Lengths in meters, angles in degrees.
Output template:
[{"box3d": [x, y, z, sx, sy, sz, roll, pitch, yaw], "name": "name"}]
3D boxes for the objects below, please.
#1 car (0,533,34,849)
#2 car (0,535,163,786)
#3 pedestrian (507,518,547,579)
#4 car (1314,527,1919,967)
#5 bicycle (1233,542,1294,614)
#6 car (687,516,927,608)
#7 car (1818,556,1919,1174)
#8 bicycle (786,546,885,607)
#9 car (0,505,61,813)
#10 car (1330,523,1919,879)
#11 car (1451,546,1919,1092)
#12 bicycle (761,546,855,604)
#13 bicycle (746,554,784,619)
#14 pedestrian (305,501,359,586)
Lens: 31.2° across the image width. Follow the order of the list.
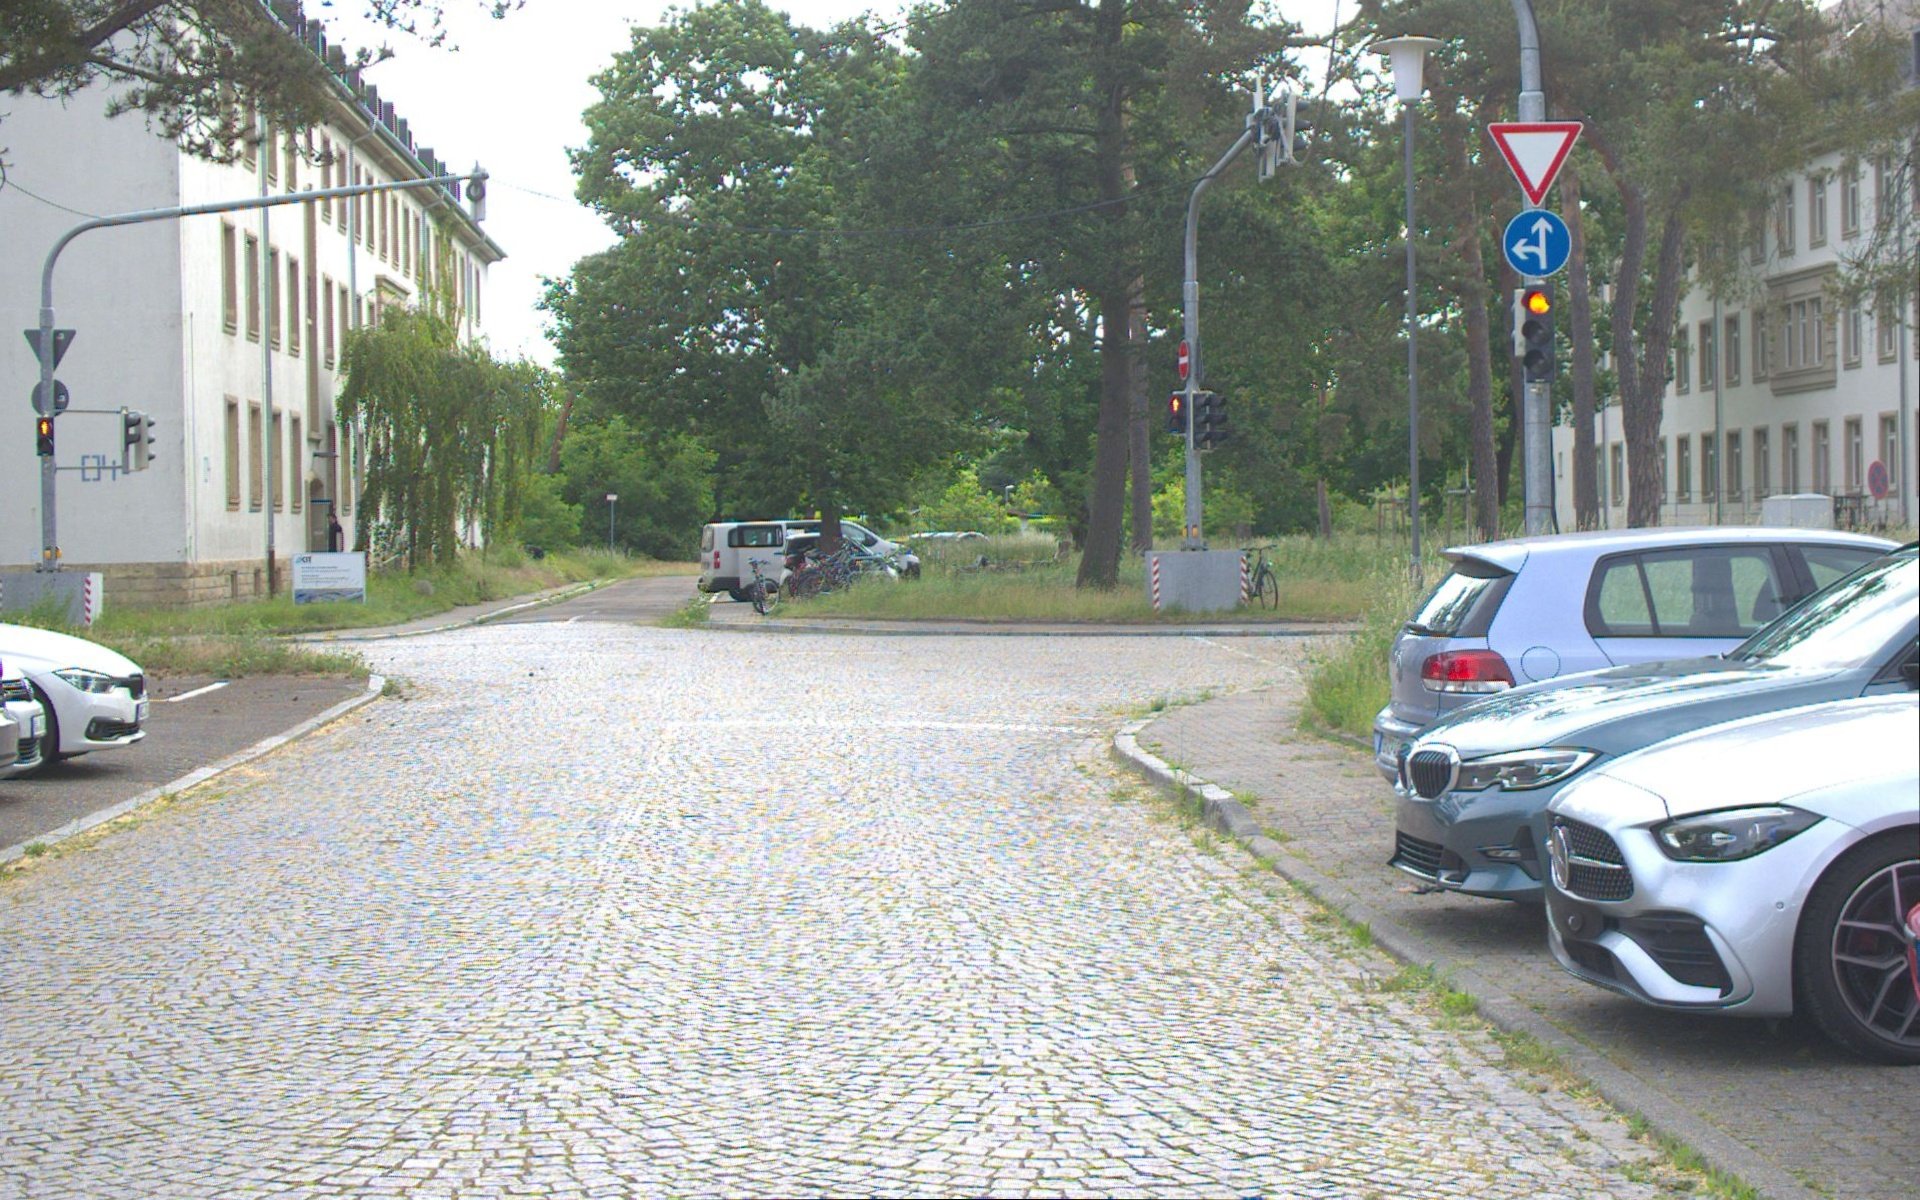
[{"box3d": [-6.929, 0.501, 17.036, 4.297, 1.548, 1.812, -2, 1, -9], "name": "car"}, {"box3d": [-7.457, 0.414, 22.277, 4.297, 1.548, 1.812, -2, 1, -9], "name": "car"}, {"box3d": [-14.069, -1.677, 111.695, 1.239, 1.952, 1.121, 1, 1, -8], "name": "pedestrian"}, {"box3d": [3.675, 0.466, 13.306, 4.227, 1.474, 1.710, -2, 1, -13], "name": "car"}, {"box3d": [4.652, -0.346, 52.794, 0.663, 1.047, 1.888, 1, 1, -3], "name": "bicycle"}, {"box3d": [-3.688, -0.924, 82.510, 5.374, 2.094, 2.179, -1, 1, -15], "name": "car"}, {"box3d": [4.344, 0.588, 8.203, 4.104, 1.471, 1.685, -2, 1, -4], "name": "car"}, {"box3d": [-2.457, -0.462, 67.750, 1.881, 1.167, 0.665, 1, 1, -8], "name": "bicycle"}, {"box3d": [-7.514, 0.378, 19.816, 4.297, 1.726, 1.653, -2, 1, -8], "name": "car"}, {"box3d": [3.942, 0.393, 15.874, 4.134, 1.458, 1.634, -2, 1, -8], "name": "car"}, {"box3d": [3.805, 0.540, 10.542, 4.184, 1.432, 1.756, -2, 1, -10], "name": "car"}, {"box3d": [-3.151, -0.522, 71.219, 1.881, 1.167, 0.665, 1, 1, -8], "name": "bicycle"}, {"box3d": [-3.568, -0.263, 63.061, 0.663, 1.167, 1.888, 1, 1, -3], "name": "bicycle"}, {"box3d": [-14.544, -1.311, 79.696, 1.074, 1.952, 1.121, 1, 1, -3], "name": "pedestrian"}]
